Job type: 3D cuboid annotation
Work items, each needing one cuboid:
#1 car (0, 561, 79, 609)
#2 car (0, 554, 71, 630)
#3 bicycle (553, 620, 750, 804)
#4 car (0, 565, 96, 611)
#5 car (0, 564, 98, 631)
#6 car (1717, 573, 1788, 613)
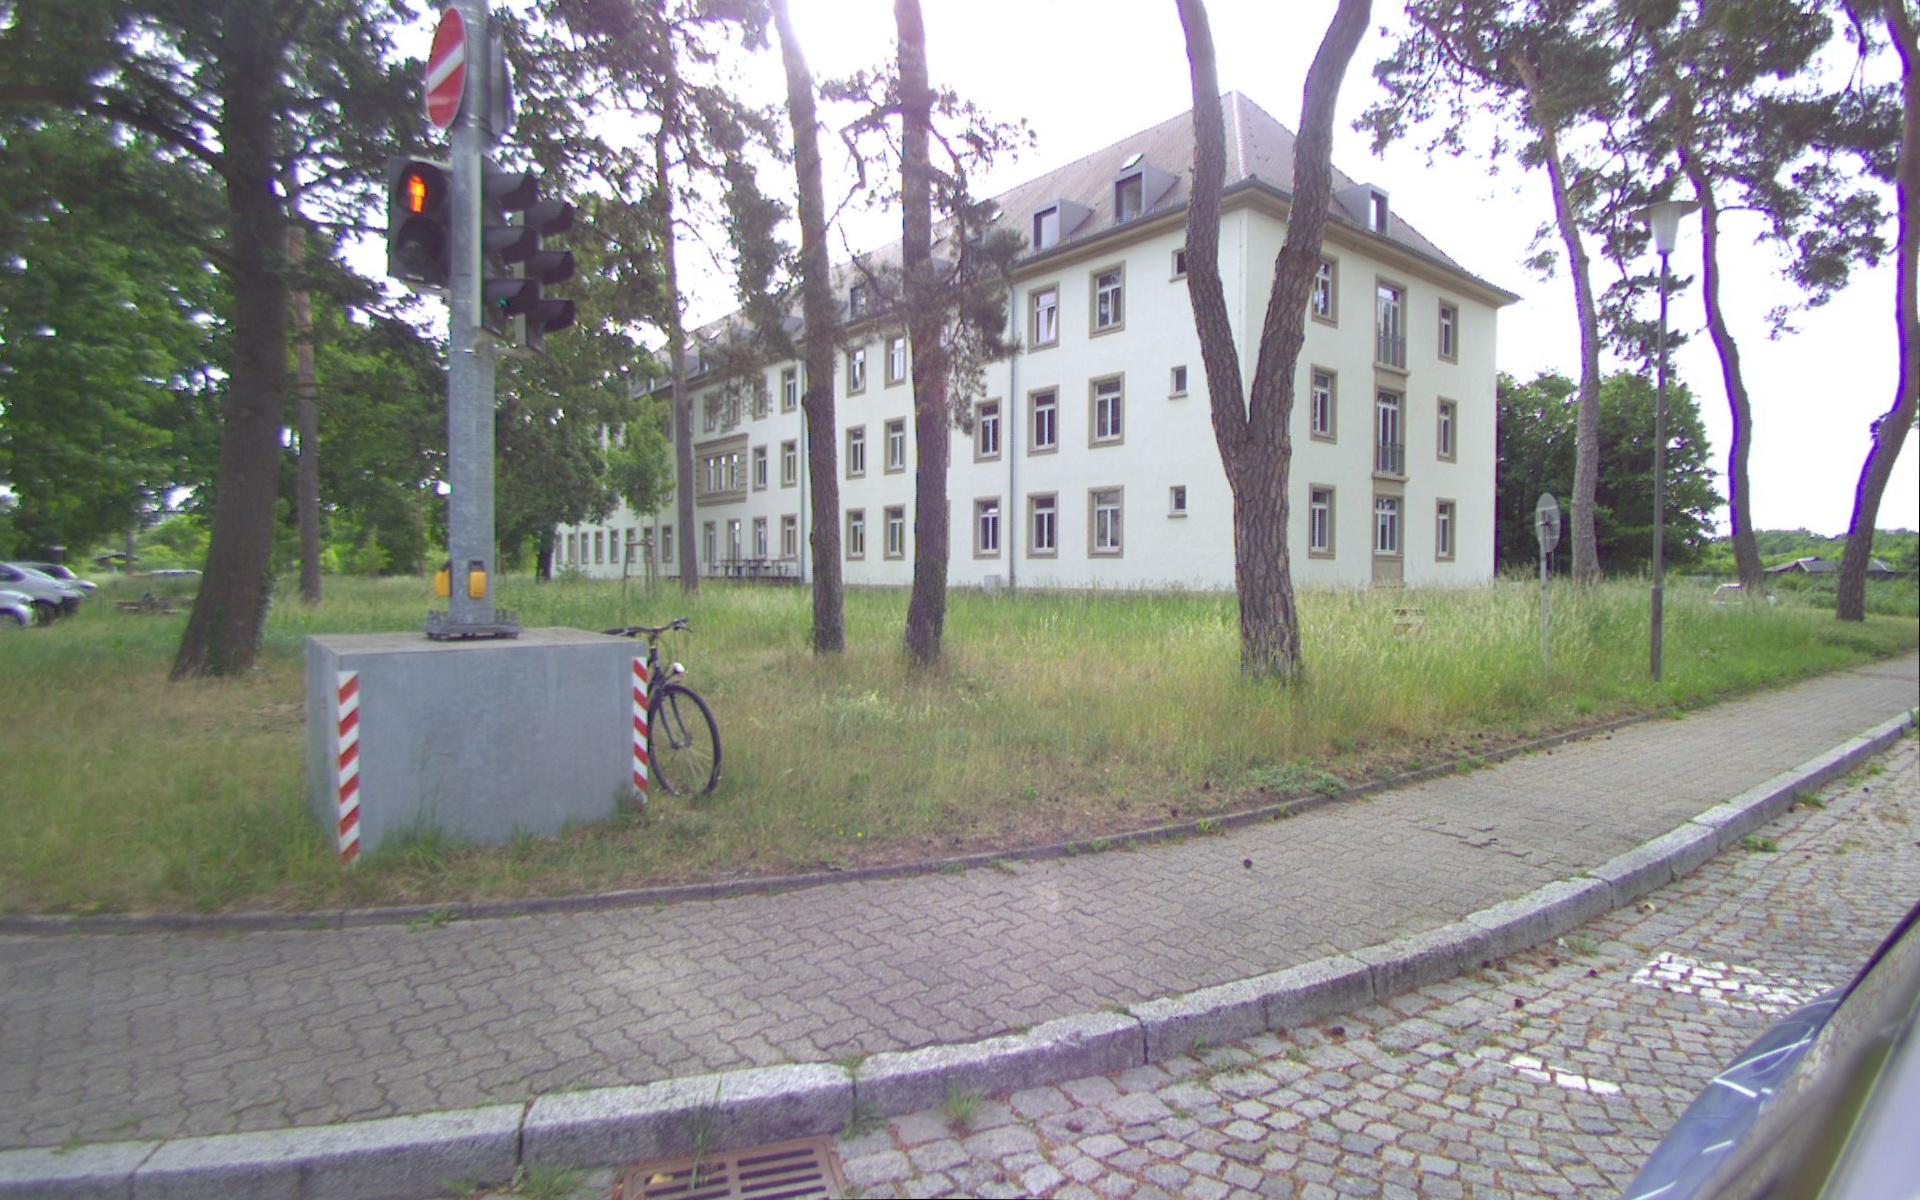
[{"bbox_3d":[-36.813,-0.579,38.706,4.611,1.795,1.998,-1,2,-39],"label":"car"},{"bbox_3d":[-25.879,-0.200,25.551,2.226,1.933,4.802,1,2,35],"label":"car"},{"bbox_3d":[-1.917,0.603,6.136,0.562,0.885,1.704,-1,2,-38],"label":"bicycle"},{"bbox_3d":[-34.269,-0.458,36.659,4.436,1.638,1.998,-1,2,-39],"label":"car"},{"bbox_3d":[-22.805,-0.070,23.720,3.859,1.549,1.862,-1,2,-38],"label":"car"},{"bbox_3d":[32.577,-0.325,41.574,3.220,1.451,1.640,-4,3,-39],"label":"car"}]
